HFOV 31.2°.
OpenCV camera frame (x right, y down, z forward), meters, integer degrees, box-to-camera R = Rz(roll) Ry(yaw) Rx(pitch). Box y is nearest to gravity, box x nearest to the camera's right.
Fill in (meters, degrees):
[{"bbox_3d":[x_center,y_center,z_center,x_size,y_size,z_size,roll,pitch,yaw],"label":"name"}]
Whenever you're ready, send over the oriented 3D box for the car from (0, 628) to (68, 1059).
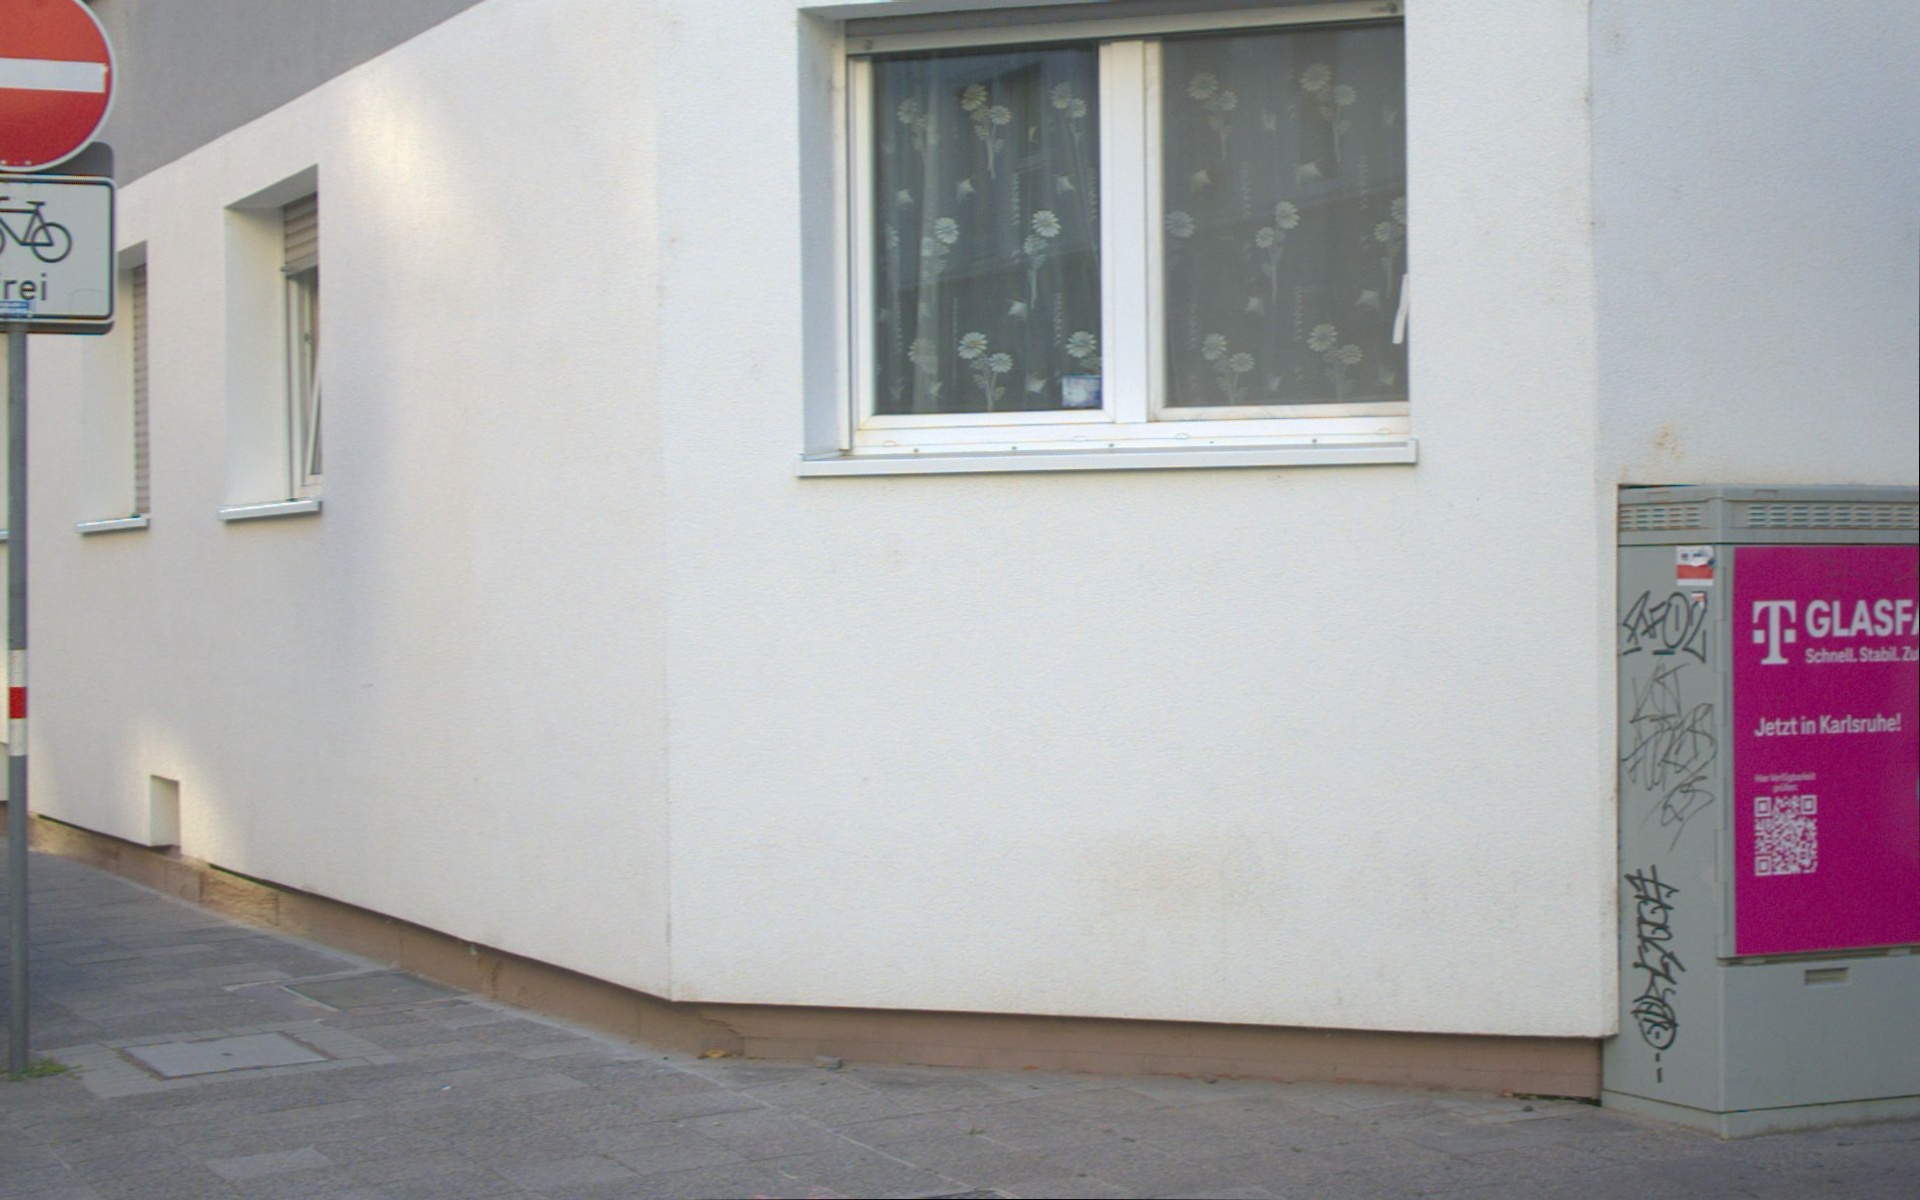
[{"bbox_3d":[-4.631,0.828,12.422,1.938,1.367,3.789,-3,2,-26],"label":"car"}]
